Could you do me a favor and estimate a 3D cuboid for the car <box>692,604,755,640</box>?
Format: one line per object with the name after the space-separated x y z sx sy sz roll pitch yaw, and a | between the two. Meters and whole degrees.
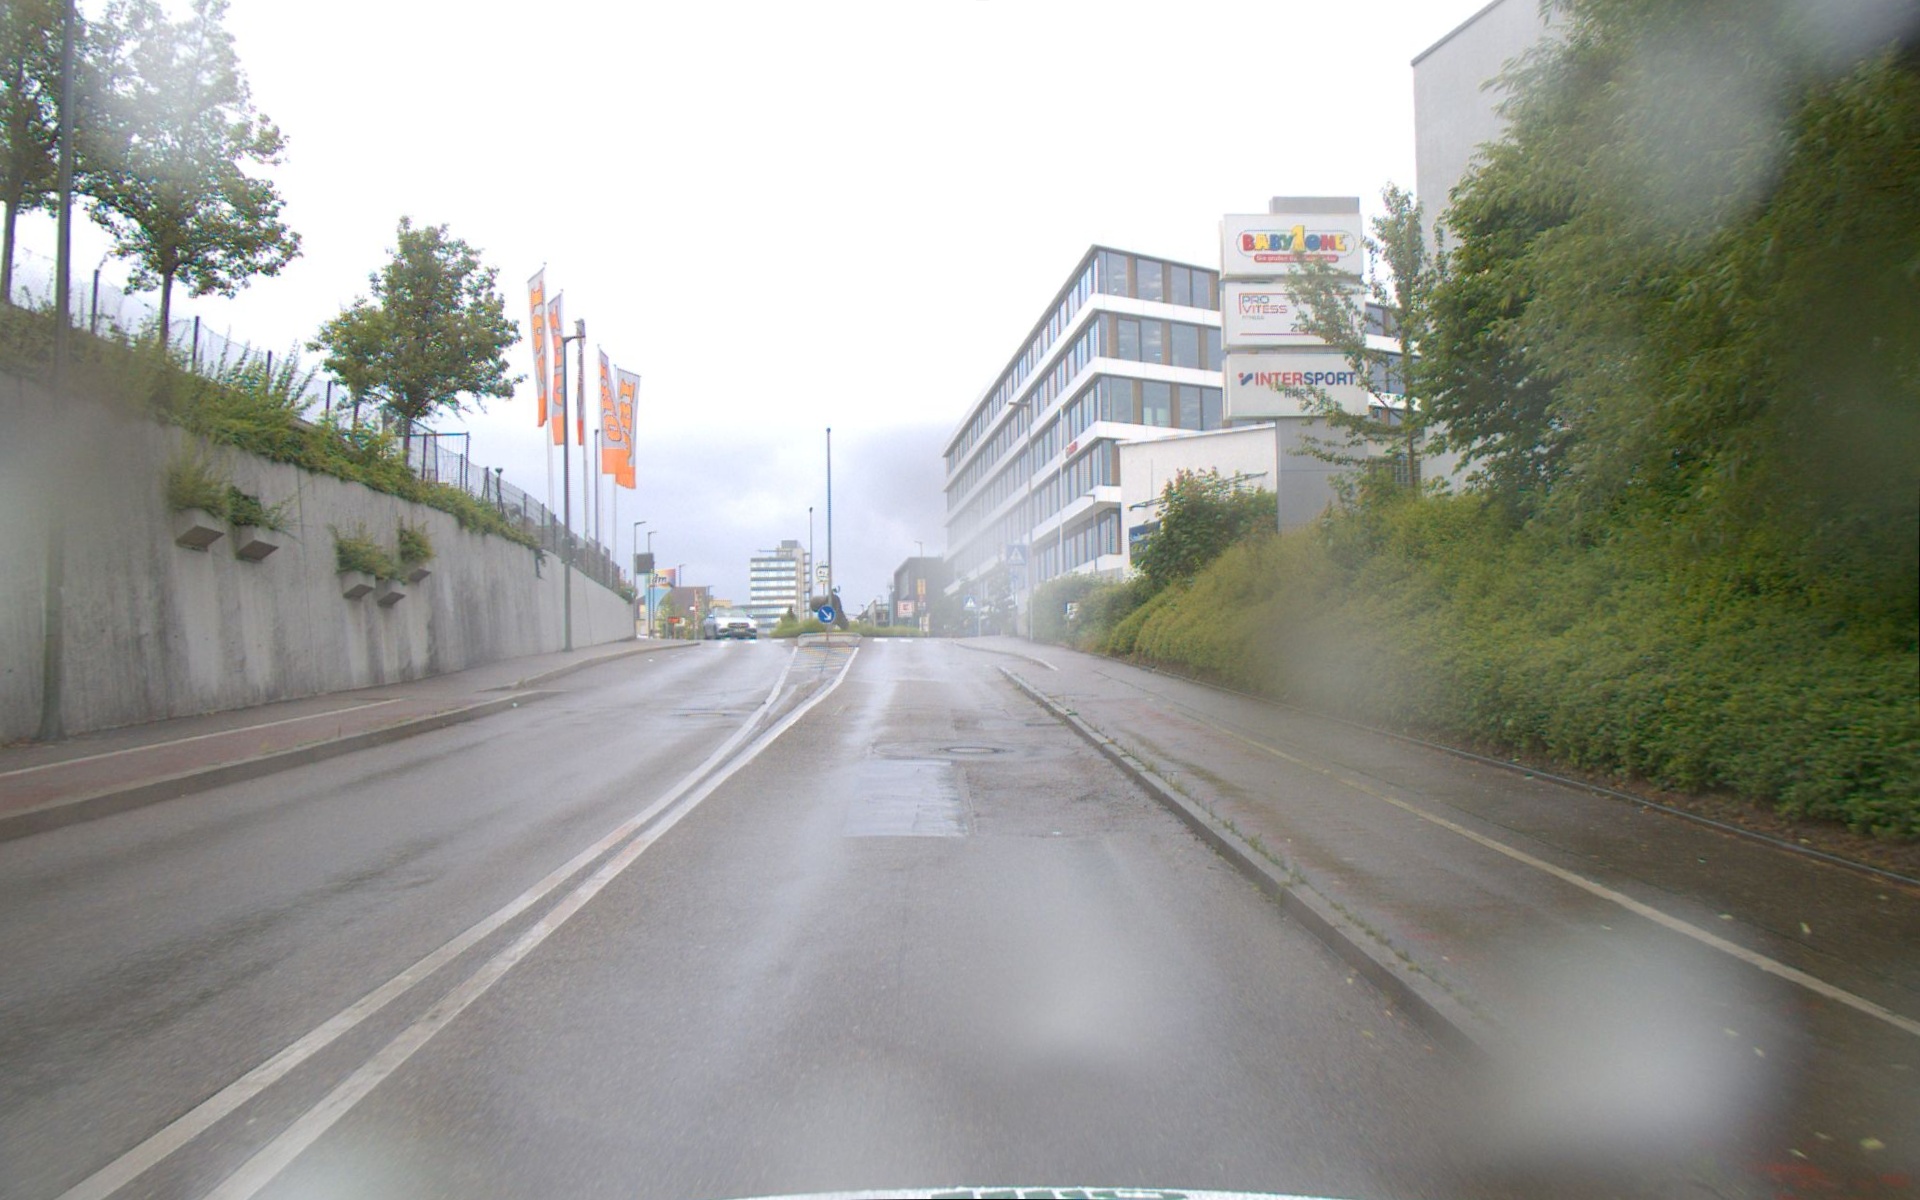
-10.402 0.948 72.482 1.970 1.451 4.758 1 0 -17 | car
